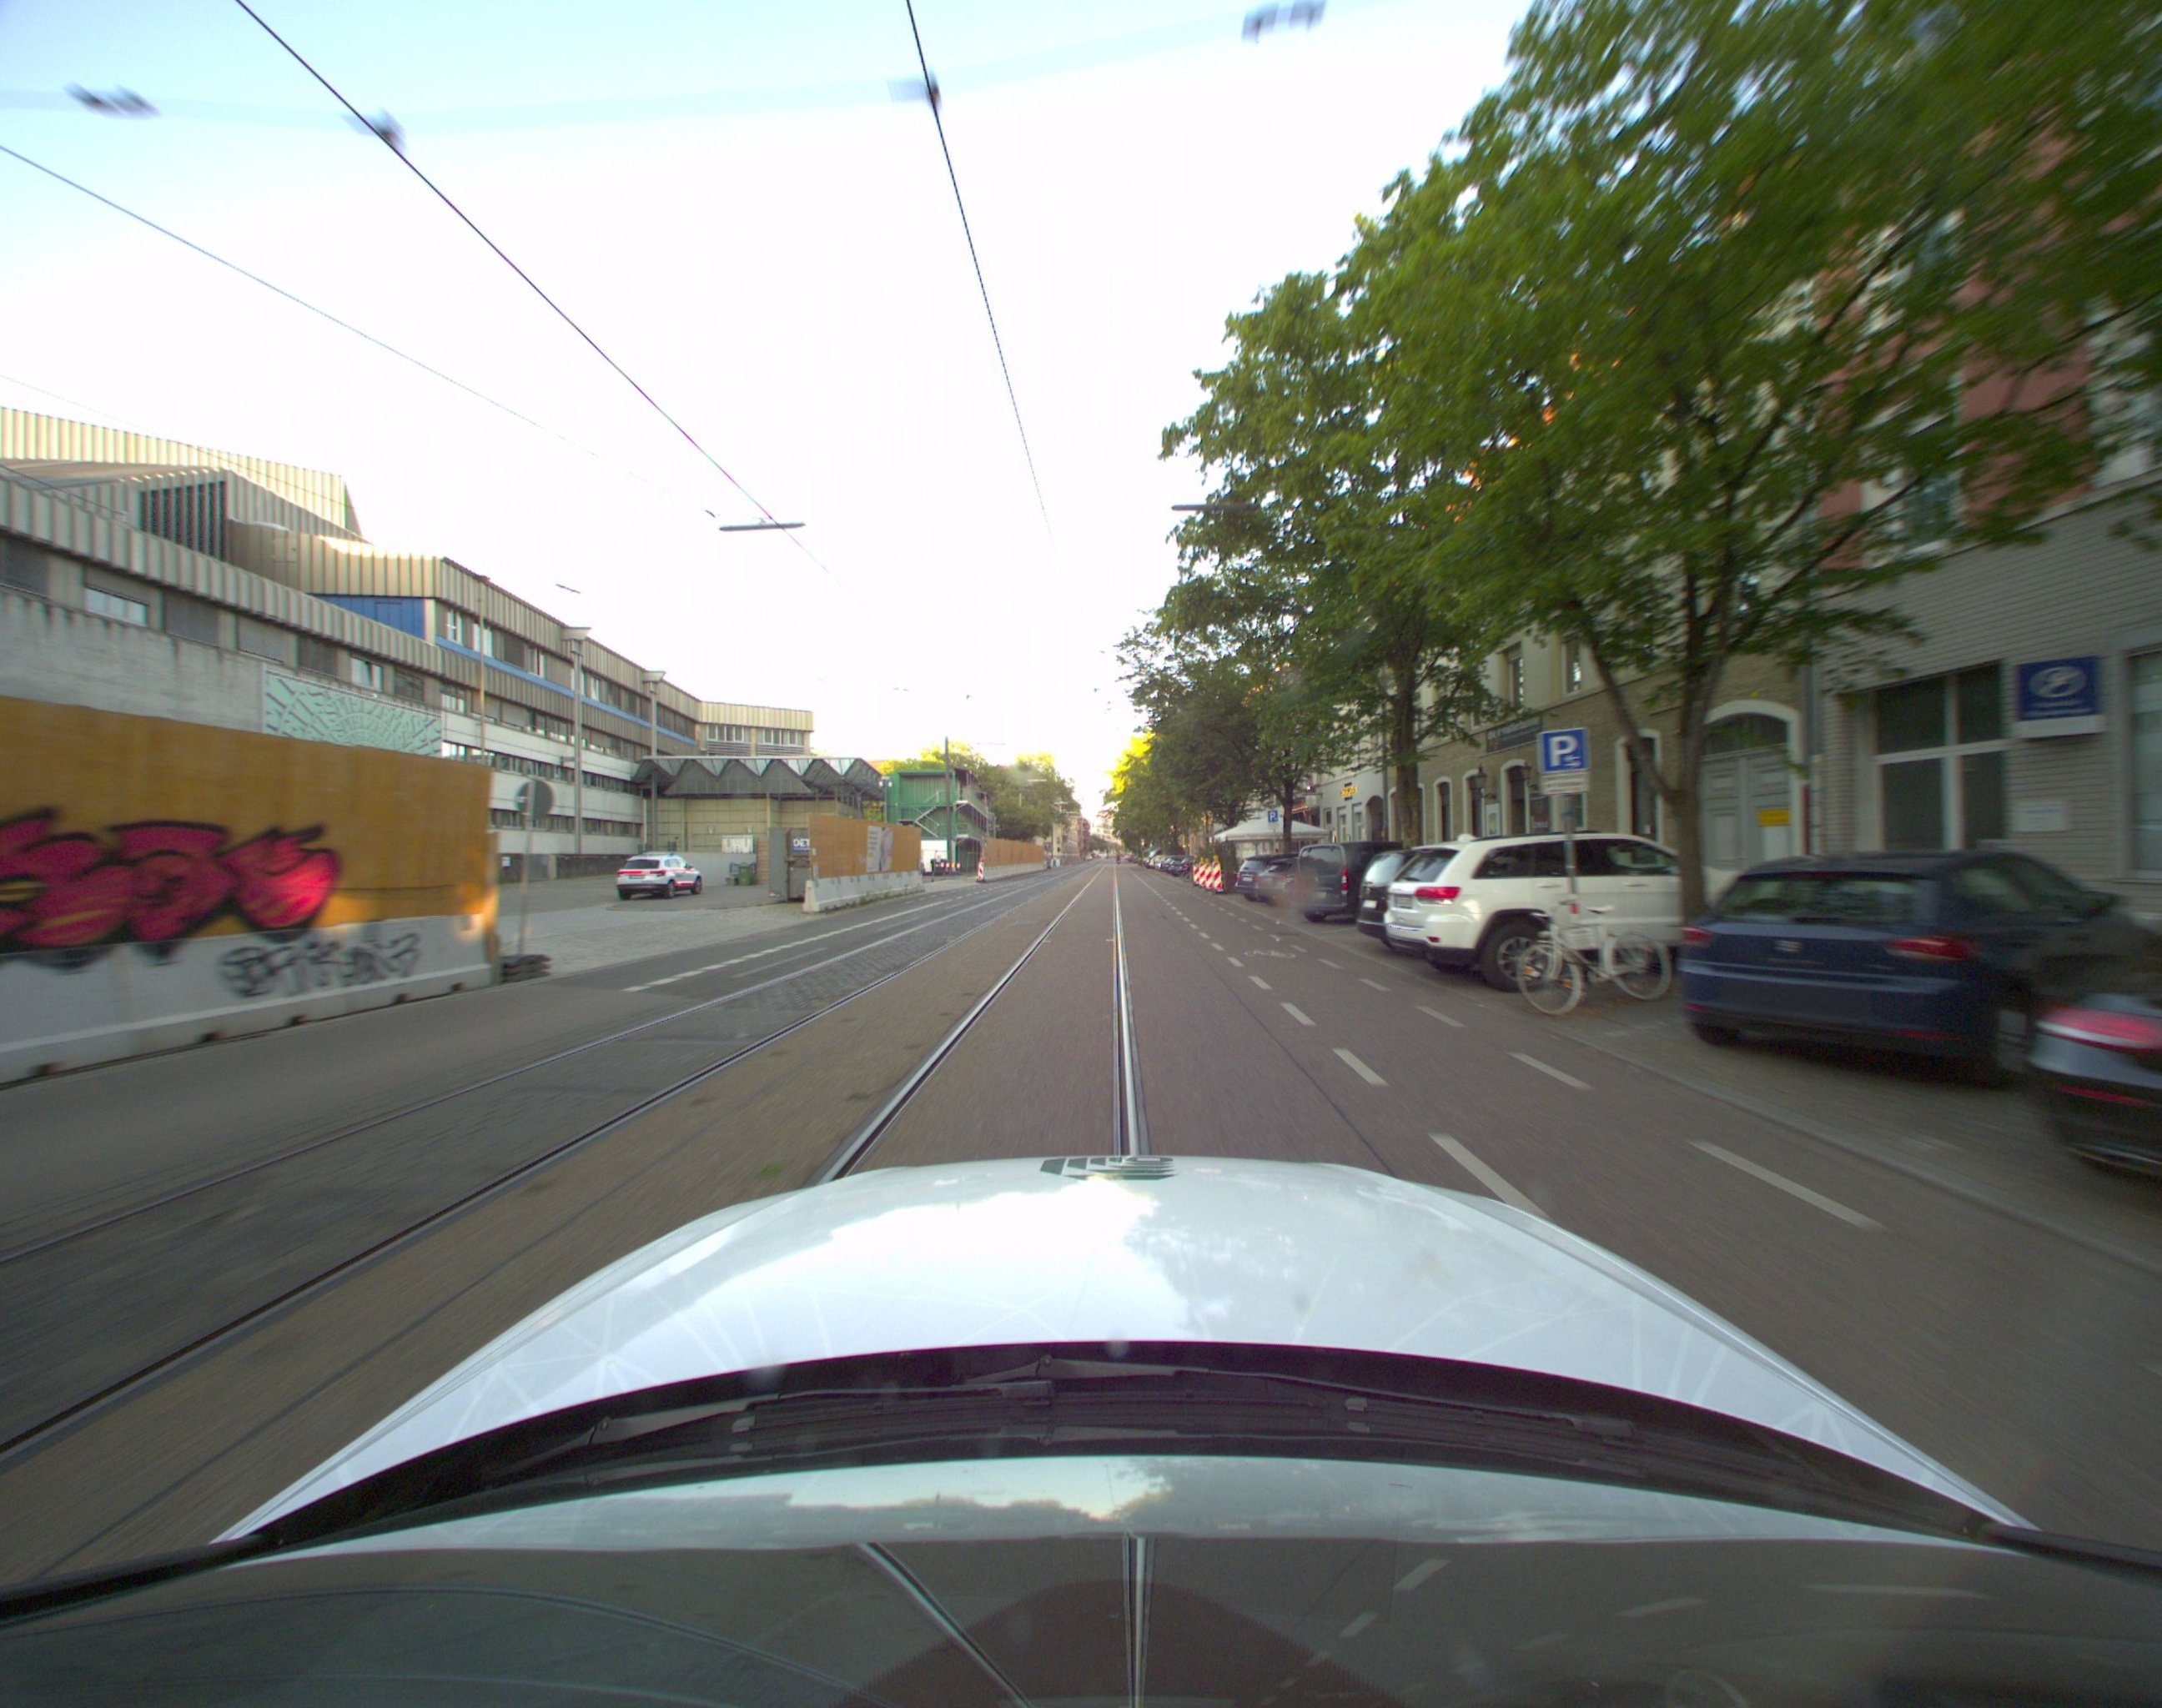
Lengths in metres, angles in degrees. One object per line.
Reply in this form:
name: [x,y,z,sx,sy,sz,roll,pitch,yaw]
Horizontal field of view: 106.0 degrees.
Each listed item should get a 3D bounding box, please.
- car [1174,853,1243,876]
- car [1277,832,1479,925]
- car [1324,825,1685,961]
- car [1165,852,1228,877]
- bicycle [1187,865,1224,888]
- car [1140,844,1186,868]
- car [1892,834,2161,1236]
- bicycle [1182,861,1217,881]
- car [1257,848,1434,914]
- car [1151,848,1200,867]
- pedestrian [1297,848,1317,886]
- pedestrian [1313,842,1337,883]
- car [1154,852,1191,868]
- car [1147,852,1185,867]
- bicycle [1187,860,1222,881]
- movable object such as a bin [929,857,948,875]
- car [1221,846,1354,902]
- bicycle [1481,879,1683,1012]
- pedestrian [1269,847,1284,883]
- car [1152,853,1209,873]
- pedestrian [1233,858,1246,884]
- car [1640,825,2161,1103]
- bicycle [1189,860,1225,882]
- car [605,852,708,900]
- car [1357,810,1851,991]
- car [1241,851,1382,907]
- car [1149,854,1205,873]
car: [8.531,0.696,54.616,4.171,1.426,1.813,-1,0,-17]
car: [6.812,0.503,18.668,4.169,1.806,1.990,-3,0,-26]
car: [6.500,0.561,12.870,4.639,1.688,2.005,-4,0,-4]
car: [8.486,0.754,59.725,4.123,1.470,1.814,-4,0,-15]
bicycle: [6.268,1.124,41.040,1.673,1.031,0.557,-4,0,0]
car: [10.014,0.283,99.367,5.104,2.642,2.011,-3,-1,-15]
car: [6.141,0.608,3.615,4.227,1.426,1.963,-4,0,-20]
bicycle: [6.958,1.004,47.768,1.897,1.031,0.533,-4,0,0]
car: [7.035,0.675,21.616,4.330,1.389,1.792,-4,0,-24]
car: [8.982,0.351,77.350,4.249,1.549,2.013,-2,-1,-9]
pedestrian: [10.457,0.589,37.731,0.551,1.763,0.850,0,-1,-10]
pedestrian: [10.609,0.364,35.478,0.705,1.763,0.709,0,-1,-25]
car: [10.124,0.661,90.798,3.934,1.620,1.922,-3,-1,2]
car: [9.887,0.611,94.642,3.966,1.486,1.906,-2,-1,-22]
bicycle: [7.070,0.943,46.665,1.880,1.067,0.674,-4,0,0]
movable object such as a bin: [-11.131,0.936,63.651,1.302,1.369,0.784,-1,0,-1]
car: [6.762,0.631,26.627,3.979,1.553,1.693,-3,0,-24]
bicycle: [4.993,0.878,8.124,1.836,1.102,0.496,-4,0,-12]
pedestrian: [9.897,0.550,41.278,0.548,1.763,0.894,0,-1,2]
car: [7.902,0.693,64.735,4.133,1.470,2.000,-1,0,-23]
pedestrian: [7.789,0.834,40.043,0.501,1.292,0.599,0,0,-3]
car: [6.412,0.625,6.223,3.763,1.426,1.714,-4,0,-23]
bicycle: [6.993,0.944,45.293,1.880,1.031,0.608,-4,0,0]
car: [-16.055,0.790,31.075,1.990,1.664,4.272,0,0,-5]
car: [6.029,0.506,9.881,4.632,1.688,2.008,-4,0,1]
car: [6.823,0.711,24.114,3.789,1.408,1.693,-3,0,-24]
car: [8.165,0.818,69.075,4.267,1.392,2.001,-2,-1,-21]
